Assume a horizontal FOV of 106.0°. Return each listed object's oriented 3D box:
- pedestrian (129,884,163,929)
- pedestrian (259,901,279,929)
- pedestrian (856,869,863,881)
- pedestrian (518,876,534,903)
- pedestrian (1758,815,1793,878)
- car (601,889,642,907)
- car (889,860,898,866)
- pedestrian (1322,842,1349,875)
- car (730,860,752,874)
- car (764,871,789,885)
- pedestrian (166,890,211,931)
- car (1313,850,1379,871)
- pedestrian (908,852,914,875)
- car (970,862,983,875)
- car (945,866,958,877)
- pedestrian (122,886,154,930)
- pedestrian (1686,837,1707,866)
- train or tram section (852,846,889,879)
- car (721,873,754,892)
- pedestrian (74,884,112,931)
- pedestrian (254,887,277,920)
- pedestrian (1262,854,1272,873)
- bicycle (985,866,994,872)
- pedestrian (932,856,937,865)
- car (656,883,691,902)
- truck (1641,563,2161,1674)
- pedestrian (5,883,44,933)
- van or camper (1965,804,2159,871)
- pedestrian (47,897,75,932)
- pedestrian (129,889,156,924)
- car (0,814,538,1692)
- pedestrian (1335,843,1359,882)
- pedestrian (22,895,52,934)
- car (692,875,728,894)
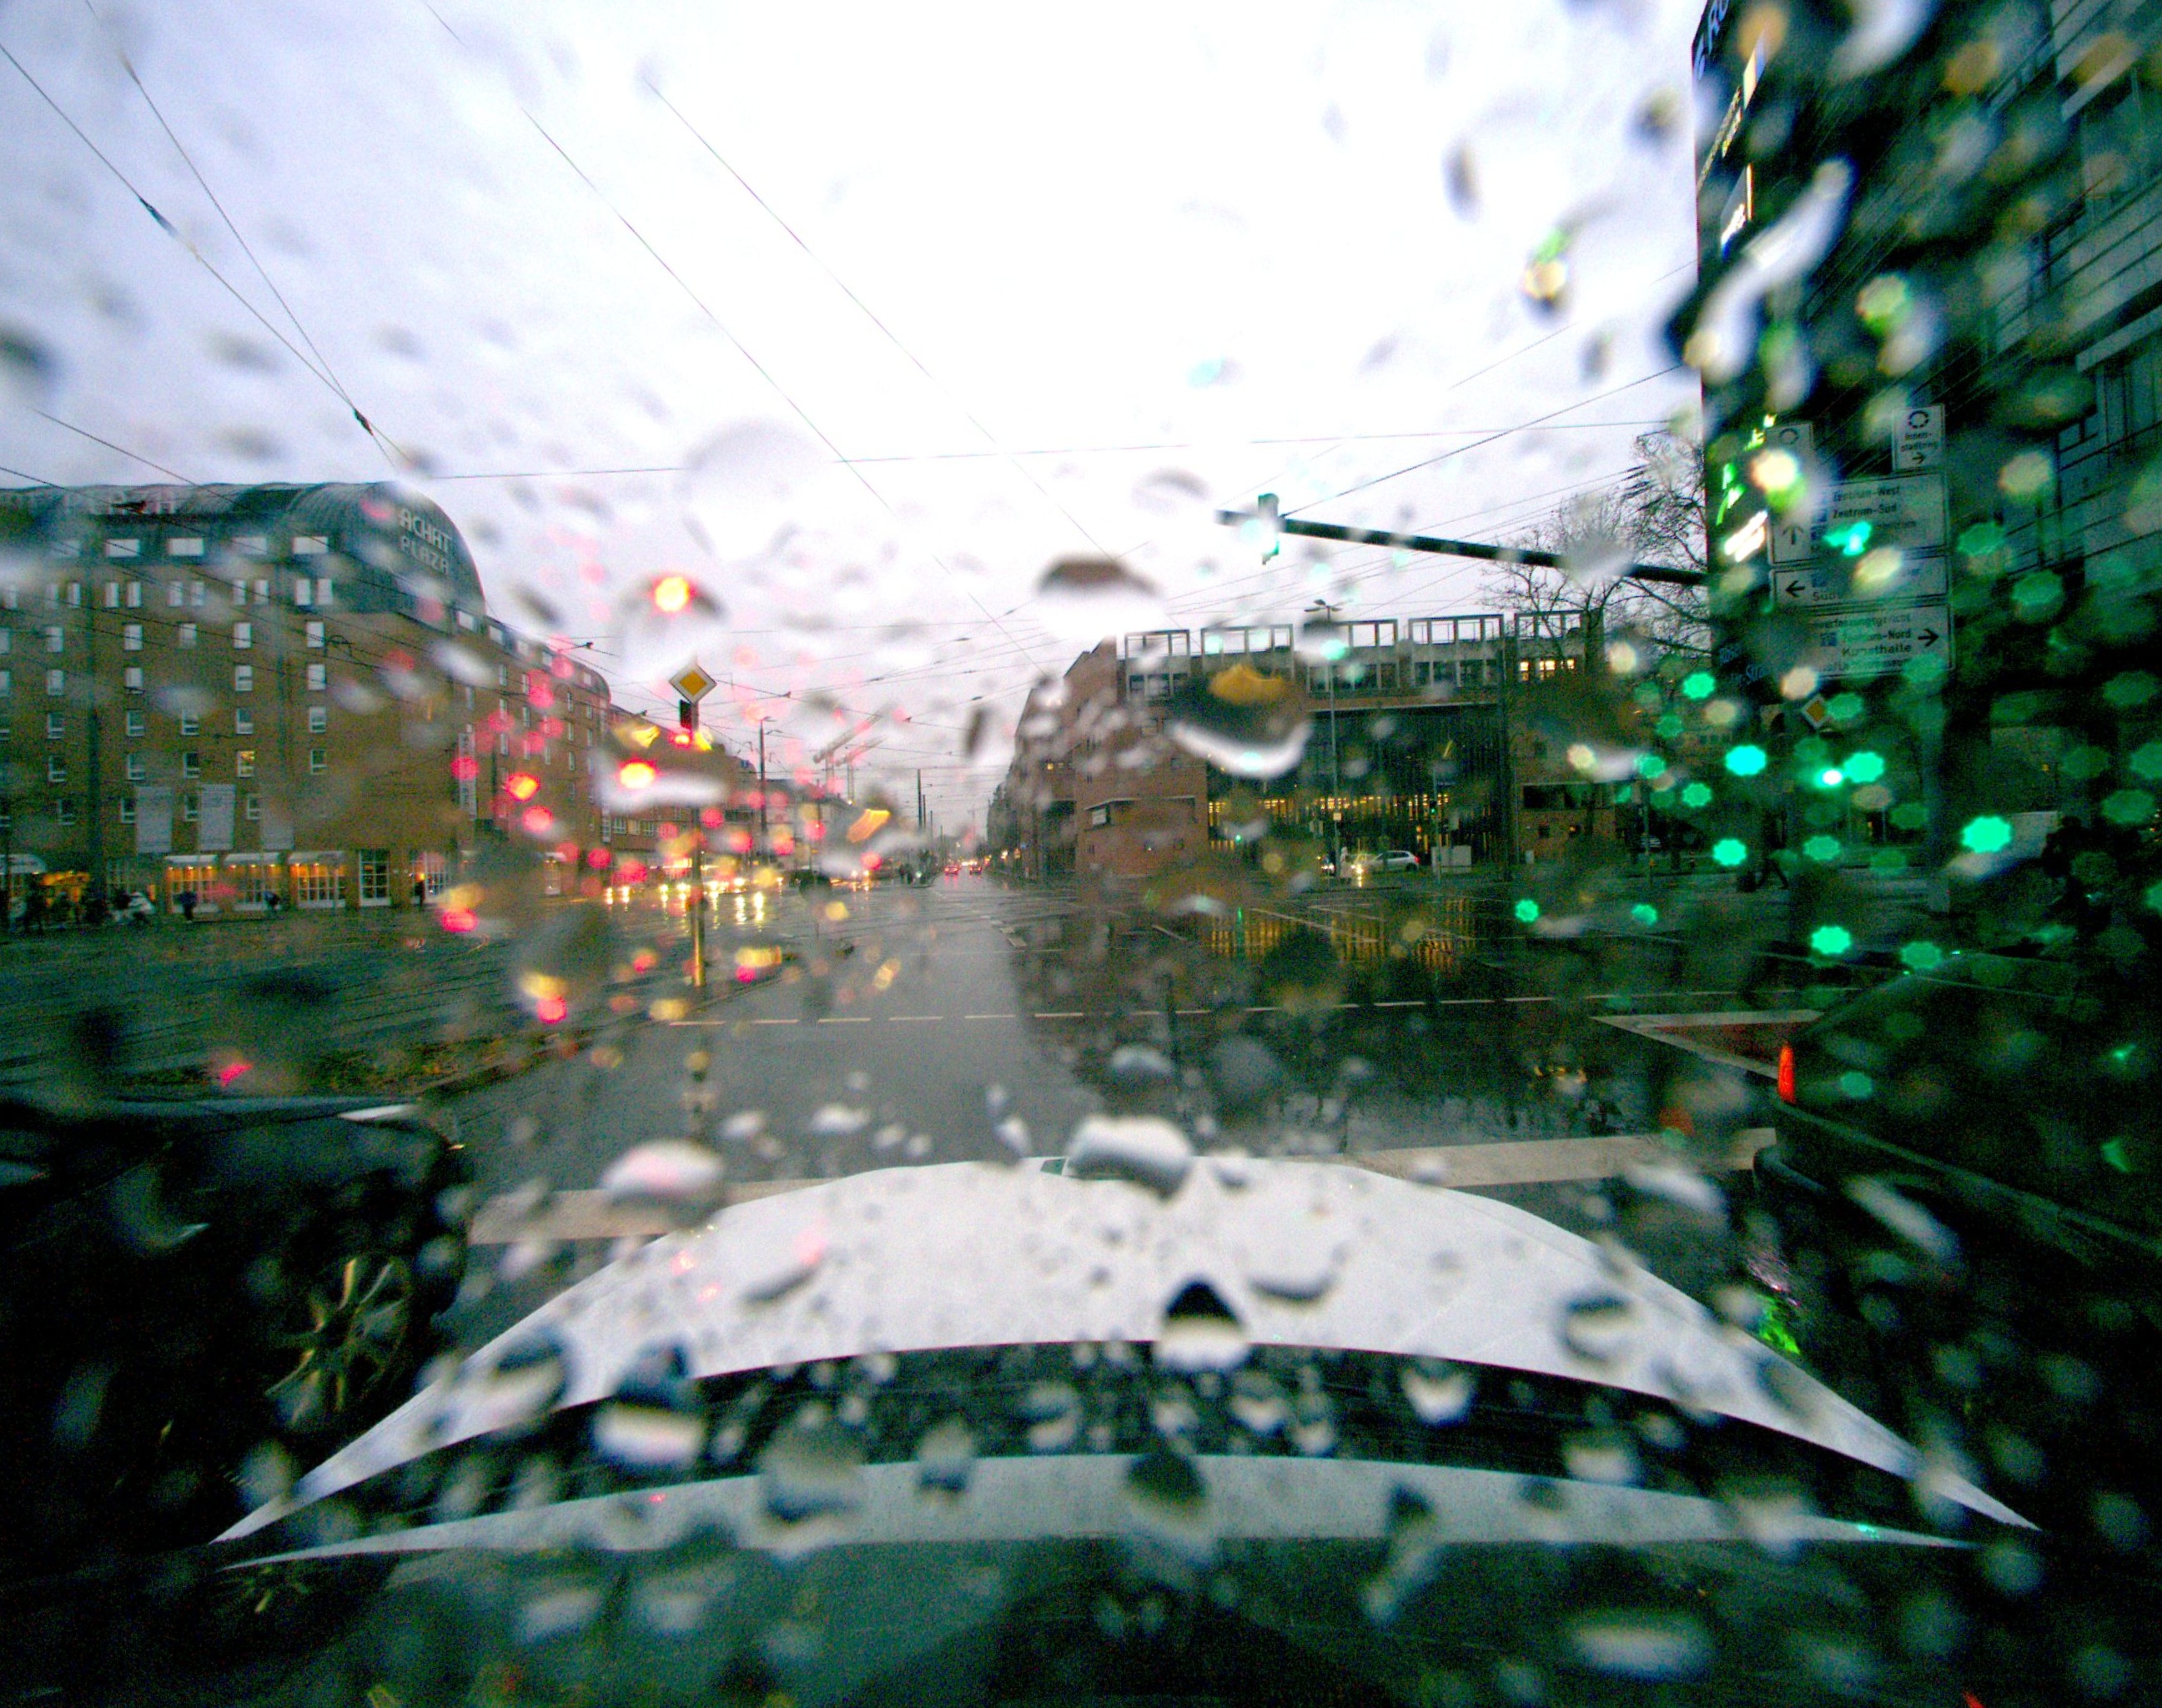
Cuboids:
[{"bbox_3d":[-43.050,2.407,37.498,0.699,2.014,0.763,-2,-1,17],"label":"pedestrian"},{"bbox_3d":[-46.140,3.482,46.281,0.515,1.538,0.577,-2,0,10],"label":"pedestrian"},{"bbox_3d":[-21.331,2.043,78.279,0.579,1.152,0.489,0,-1,-7],"label":"pedestrian"},{"bbox_3d":[-42.555,2.693,62.500,0.939,2.014,0.751,-2,-1,-32],"label":"pedestrian"},{"bbox_3d":[20.477,-0.229,24.008,0.805,1.811,0.643,-2,-1,-42],"label":"pedestrian"},{"bbox_3d":[-40.226,3.870,71.367,1.611,1.321,4.216,-2,0,-8],"label":"car"},{"bbox_3d":[-40.804,1.931,177.408,1.681,1.354,3.534,-1,-1,-9],"label":"car"},{"bbox_3d":[14.178,0.259,45.425,1.148,1.787,0.775,-2,0,-8],"label":"pedestrian"},{"bbox_3d":[-47.973,1.824,115.072,1.993,2.014,3.988,0,-1,-9],"label":"car"},{"bbox_3d":[-30.332,2.373,81.105,1.681,1.354,3.534,-1,-1,-9],"label":"car"},{"bbox_3d":[-44.201,2.794,40.349,0.852,1.899,1.165,-2,0,10],"label":"pedestrian"},{"bbox_3d":[18.355,0.449,56.478,3.977,1.310,1.810,-2,-1,-7],"label":"car"},{"bbox_3d":[-14.151,0.779,67.849,0.412,1.845,0.666,-1,-1,-14],"label":"pedestrian"},{"bbox_3d":[-17.177,2.354,134.128,1.991,2.013,3.991,-2,0,-7],"label":"car"},{"bbox_3d":[-19.309,2.611,121.805,1.782,1.467,3.141,-2,0,-7],"label":"car"},{"bbox_3d":[-44.784,2.571,38.672,0.699,2.014,0.763,-2,-1,17],"label":"pedestrian"},{"bbox_3d":[29.448,-0.133,38.982,0.603,1.364,0.478,-2,0,-1],"label":"pedestrian"},{"bbox_3d":[-25.041,1.011,97.482,2.948,3.589,12.220,0,-1,-8],"label":"train or tram section"},{"bbox_3d":[-33.264,2.730,78.998,1.828,1.709,4.690,-2,0,-9],"label":"car"},{"bbox_3d":[-43.679,2.359,36.026,0.755,2.014,0.706,-2,-1,-5],"label":"pedestrian"},{"bbox_3d":[-39.889,2.420,39.843,0.515,1.538,0.577,-2,0,10],"label":"pedestrian"},{"bbox_3d":[14.366,0.720,62.953,0.732,1.389,0.740,-2,0,12],"label":"pedestrian"},{"bbox_3d":[-17.201,2.764,153.142,1.730,1.055,0.370,-3,0,-10],"label":"bicycle"},{"bbox_3d":[-23.131,1.016,128.708,0.682,1.516,0.614,-1,-1,-21],"label":"pedestrian"},{"bbox_3d":[-35.637,3.348,71.300,1.580,1.495,3.586,-2,0,-7],"label":"car"},{"bbox_3d":[2.787,0.452,0.426,1.897,1.917,4.618,0,0,1],"label":"truck"},{"bbox_3d":[-43.723,2.226,33.697,0.699,2.014,0.763,-2,-1,17],"label":"pedestrian"},{"bbox_3d":[30.734,-0.516,25.550,4.734,1.929,1.834,-2,-1,-11],"label":"van or camper"},{"bbox_3d":[-45.433,2.690,36.283,0.515,1.538,0.577,-2,0,10],"label":"pedestrian"},{"bbox_3d":[-42.252,2.373,36.666,0.515,1.538,0.577,-2,0,10],"label":"pedestrian"},{"bbox_3d":[-2.824,0.743,0.950,1.673,1.573,3.763,-2,0,3],"label":"car"},{"bbox_3d":[12.678,0.394,38.801,0.734,1.787,0.732,-2,0,-12],"label":"pedestrian"},{"bbox_3d":[-43.082,2.481,33.607,0.515,1.538,0.577,-2,0,10],"label":"pedestrian"},{"bbox_3d":[-32.549,2.647,71.476,1.667,1.495,4.190,-2,0,-7],"label":"car"}]
